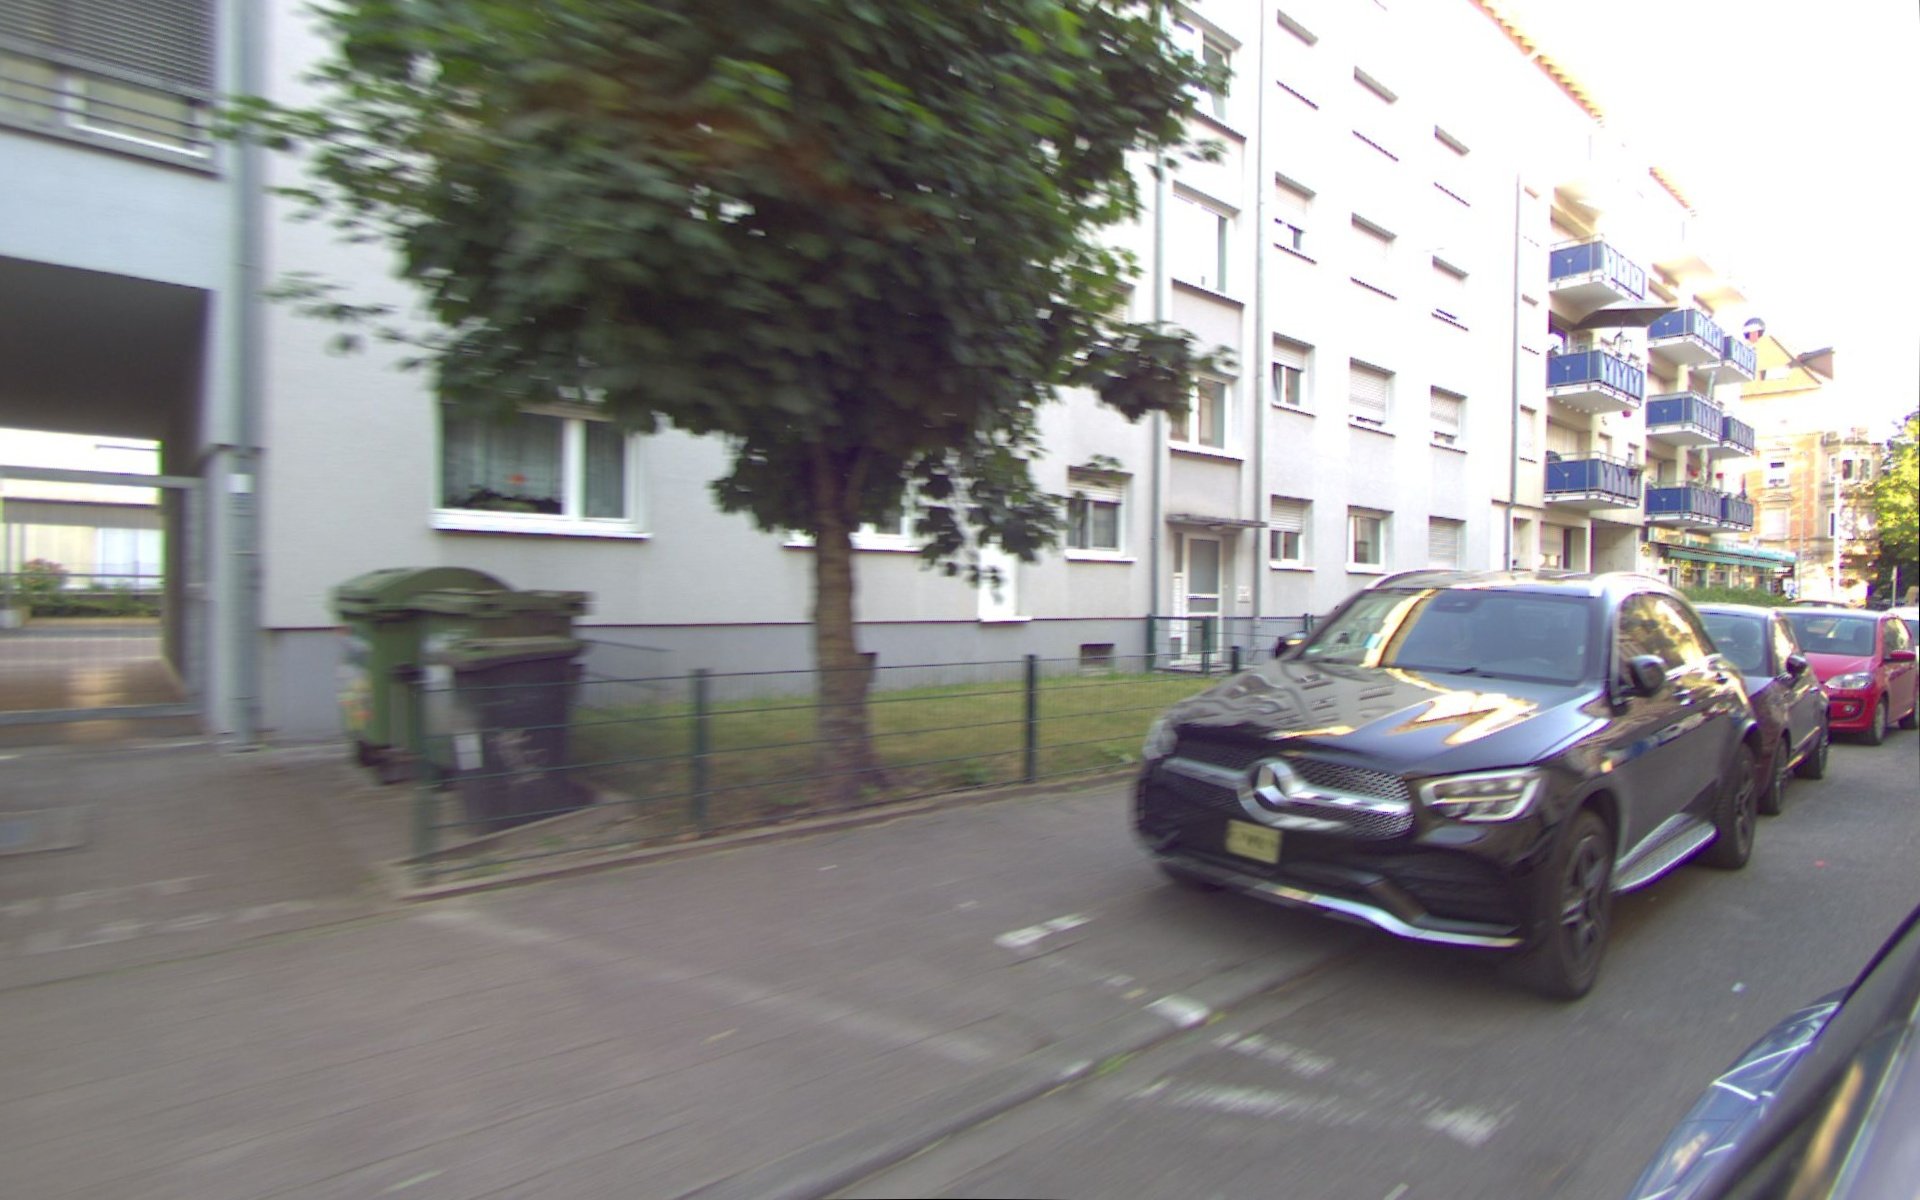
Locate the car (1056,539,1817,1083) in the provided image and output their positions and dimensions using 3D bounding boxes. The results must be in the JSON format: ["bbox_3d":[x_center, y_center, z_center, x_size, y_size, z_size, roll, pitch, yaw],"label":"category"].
[{"bbox_3d":[2.799,0.595,5.308,4.640,1.655,1.875,0,2,-41],"label":"car"}]

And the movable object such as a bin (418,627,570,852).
[{"bbox_3d":[-2.514,0.708,5.460,0.614,1.084,0.529,0,1,-41],"label":"movable object such as a bin"}]

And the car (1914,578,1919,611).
[{"bbox_3d":[66.955,-0.312,68.775,2.149,2.311,6.130,3,2,35],"label":"car"}]

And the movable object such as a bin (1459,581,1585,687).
[{"bbox_3d":[8.370,0.468,15.081,1.202,1.454,1.287,0,2,-41],"label":"movable object such as a bin"}]

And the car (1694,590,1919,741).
[{"bbox_3d":[10.483,0.666,12.236,3.586,1.501,1.681,0,2,-39],"label":"car"}]

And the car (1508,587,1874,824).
[{"bbox_3d":[6.209,0.678,8.460,3.588,1.501,1.680,0,2,-41],"label":"car"}]

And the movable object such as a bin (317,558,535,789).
[{"bbox_3d":[-3.833,0.444,7.240,1.119,1.454,1.264,0,2,-41],"label":"movable object such as a bin"}]

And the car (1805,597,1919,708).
[{"bbox_3d":[14.268,0.718,15.277,4.064,1.437,1.680,0,2,-41],"label":"car"}]

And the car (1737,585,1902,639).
[{"bbox_3d":[28.835,0.352,34.023,1.966,1.584,3.993,0,3,-42],"label":"car"}]

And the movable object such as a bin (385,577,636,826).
[{"bbox_3d":[-2.847,0.544,6.371,1.119,1.337,1.264,0,2,-41],"label":"movable object such as a bin"}]

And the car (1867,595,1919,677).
[{"bbox_3d":[18.791,0.651,19.346,4.064,1.437,1.679,0,2,-42],"label":"car"}]
